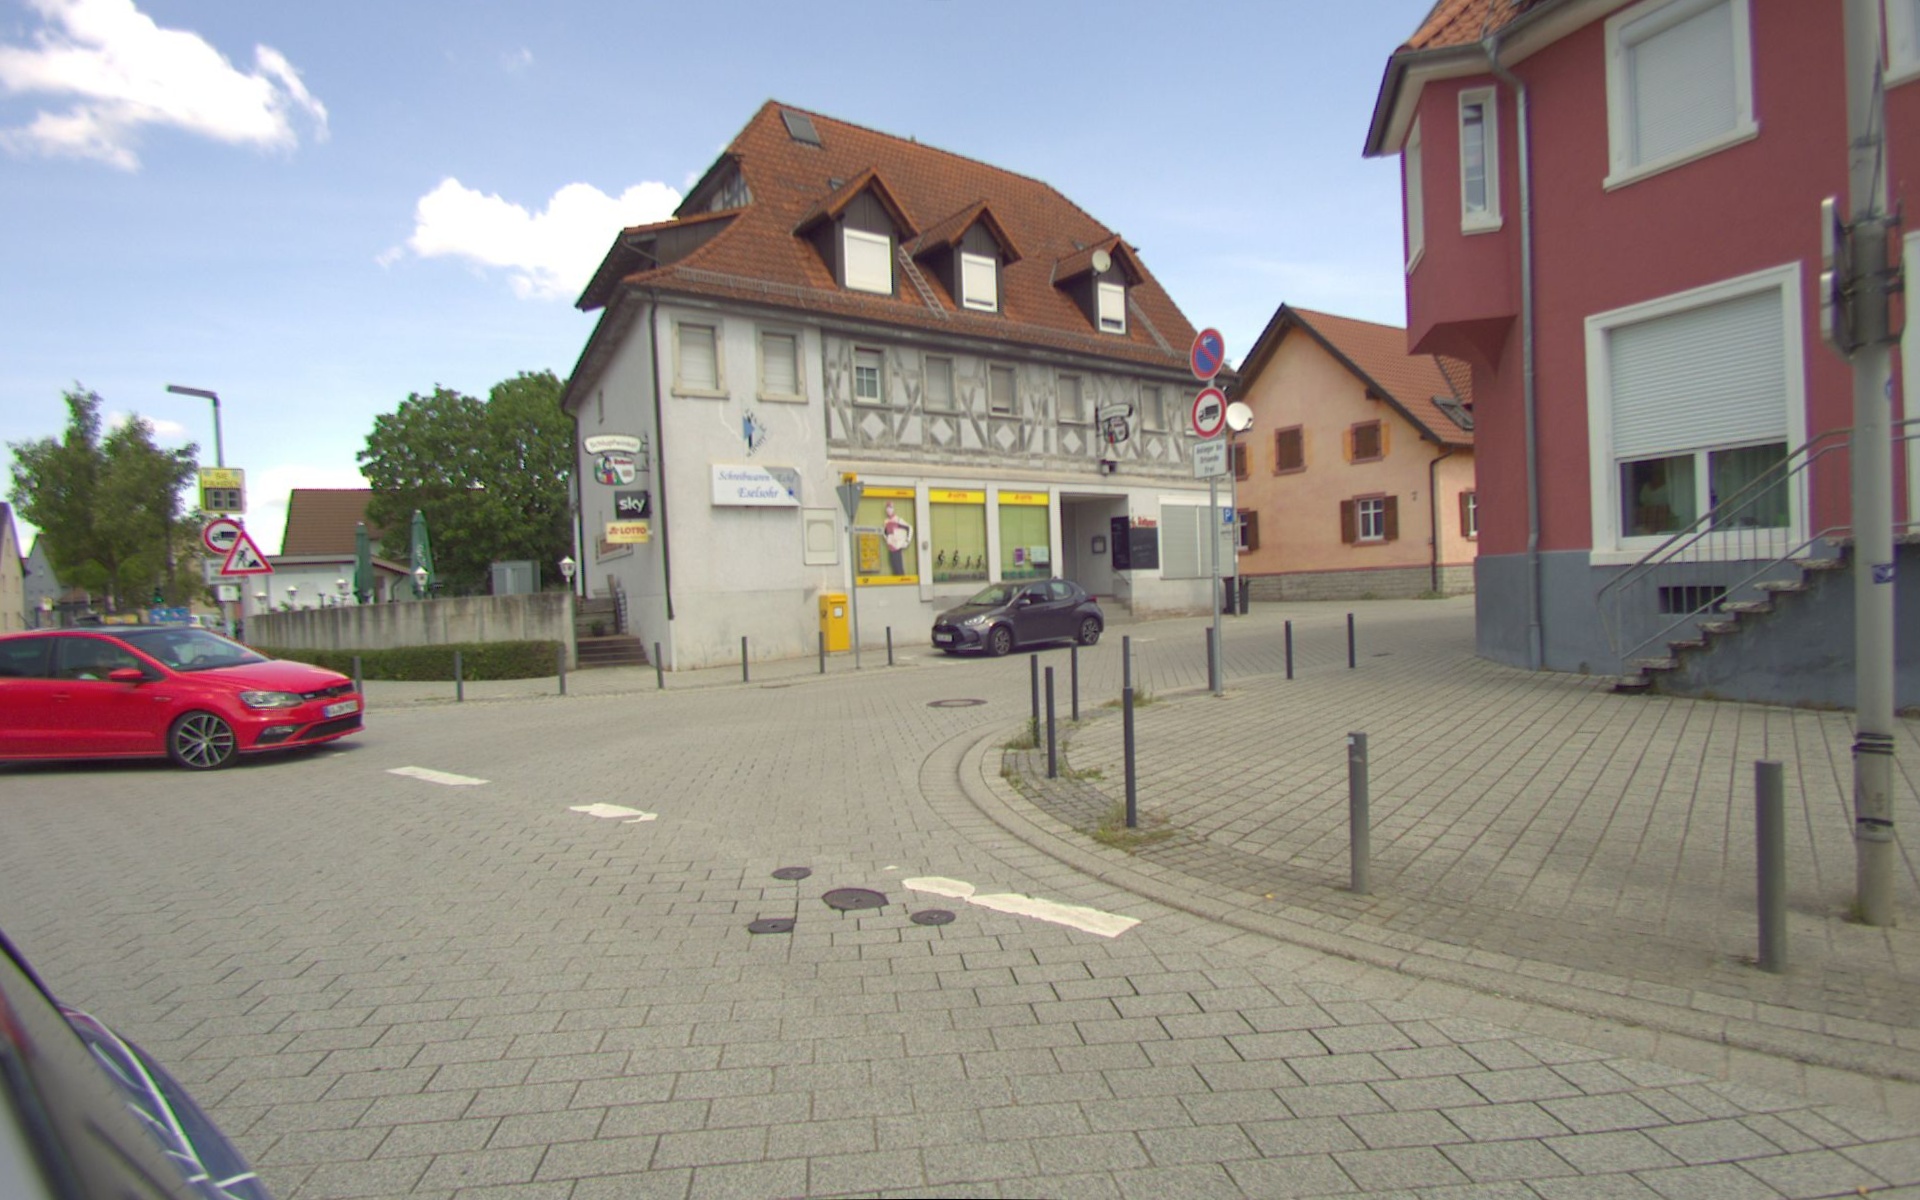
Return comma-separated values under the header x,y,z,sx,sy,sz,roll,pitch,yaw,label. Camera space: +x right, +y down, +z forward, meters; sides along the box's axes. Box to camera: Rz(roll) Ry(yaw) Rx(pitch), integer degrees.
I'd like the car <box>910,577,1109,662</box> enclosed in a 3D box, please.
x,y,z,sx,sy,sz,roll,pitch,yaw,label
1.084,0.370,21.141,3.890,1.529,1.777,-3,0,-38,car

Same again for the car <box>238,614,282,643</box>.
x,y,z,sx,sy,sz,roll,pitch,yaw,label
-52.240,2.110,75.609,1.636,2.029,4.013,-2,0,-19,car

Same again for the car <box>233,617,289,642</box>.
x,y,z,sx,sy,sz,roll,pitch,yaw,label
-45.987,1.899,66.642,1.709,1.501,4.514,-2,0,-17,car

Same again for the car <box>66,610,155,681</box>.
x,y,z,sx,sy,sz,roll,pitch,yaw,label
-26.894,1.395,32.079,1.962,2.005,5.052,-2,0,-40,car

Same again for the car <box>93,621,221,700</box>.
x,y,z,sx,sy,sz,roll,pitch,yaw,label
-17.410,1.260,21.872,3.964,1.485,1.649,-2,-1,44,car

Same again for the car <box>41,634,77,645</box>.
x,y,z,sx,sy,sz,roll,pitch,yaw,label
-98.957,4.320,111.114,3.983,1.068,1.786,-2,0,29,car

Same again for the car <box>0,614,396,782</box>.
x,y,z,sx,sy,sz,roll,pitch,yaw,label
-8.059,0.934,10.160,3.838,1.422,1.781,-2,0,5,car

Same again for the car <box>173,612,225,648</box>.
x,y,z,sx,sy,sz,roll,pitch,yaw,label
-48.865,1.907,65.095,1.861,2.202,5.046,-2,0,-28,car

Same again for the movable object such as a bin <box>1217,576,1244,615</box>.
x,y,z,sx,sy,sz,roll,pitch,yaw,label
7.846,-0.137,29.355,0.486,1.125,0.586,-1,0,-38,movable object such as a bin
